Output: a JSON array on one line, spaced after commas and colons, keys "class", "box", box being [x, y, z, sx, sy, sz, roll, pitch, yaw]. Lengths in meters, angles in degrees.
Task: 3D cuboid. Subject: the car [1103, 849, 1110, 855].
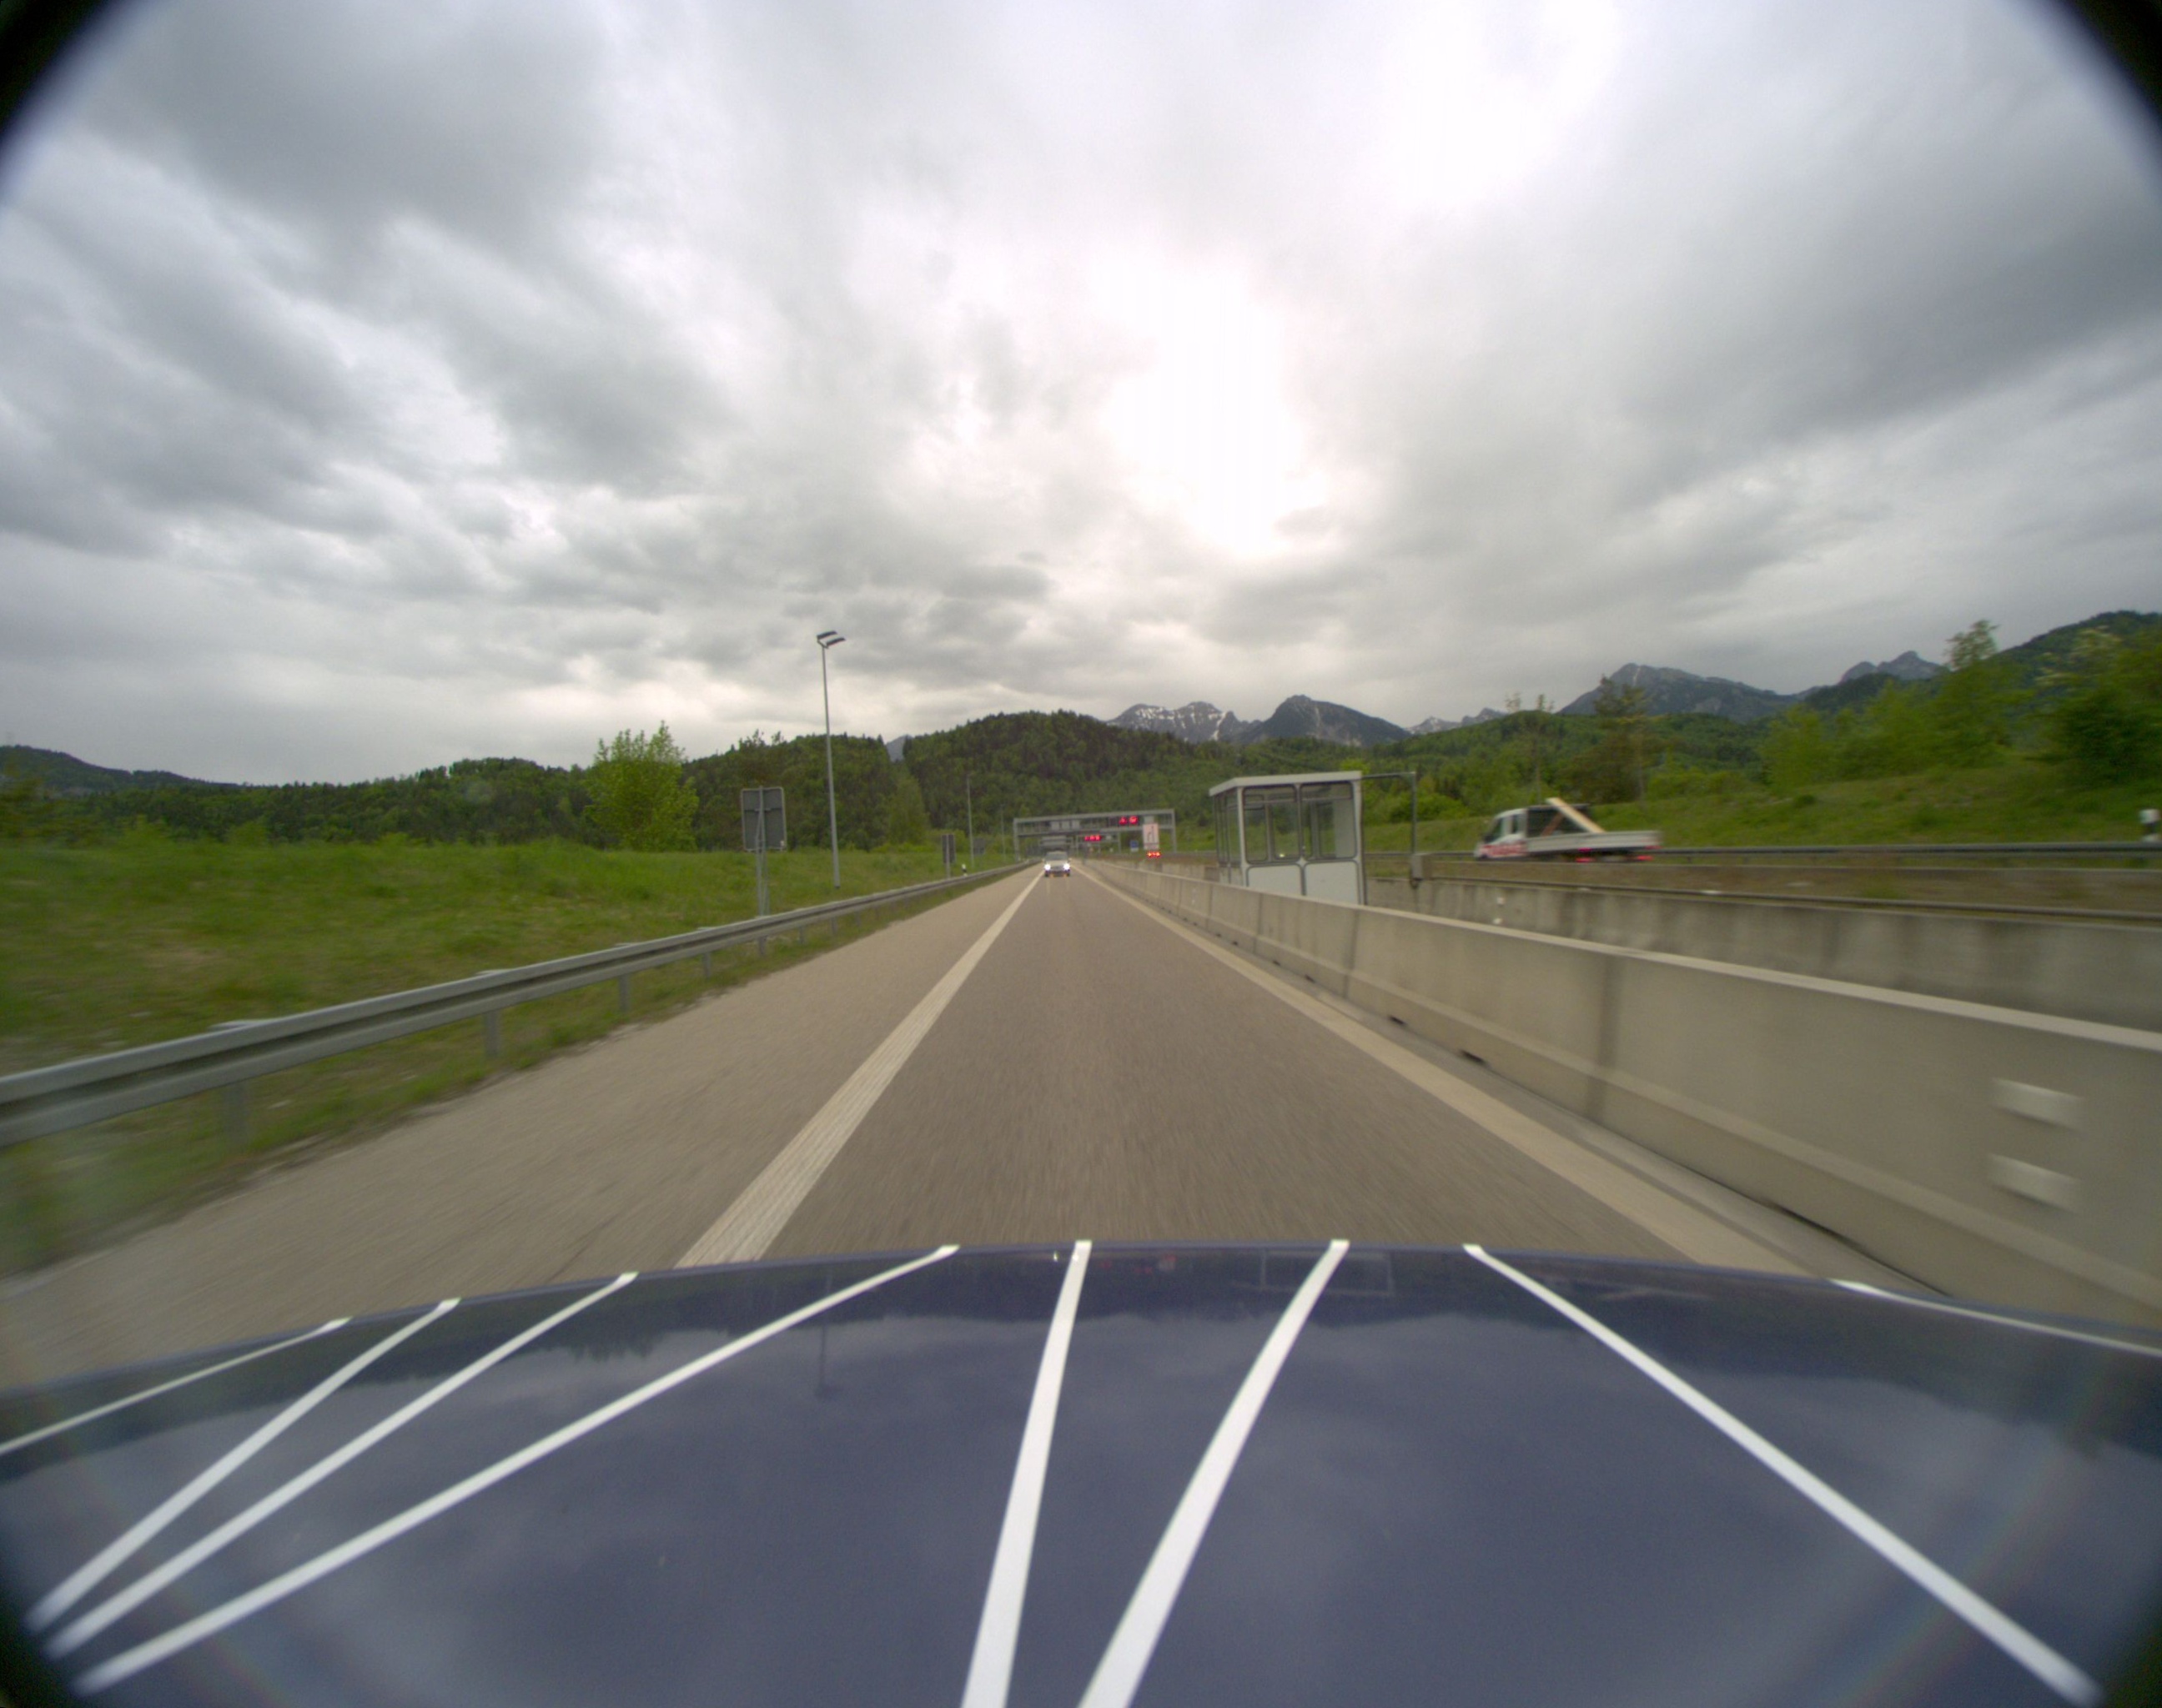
[{"class": "car", "box": [8.191, -0.725, 243.015, 1.883, 1.726, 5.750, -3, 0, -2]}]

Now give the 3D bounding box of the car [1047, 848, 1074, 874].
[{"class": "car", "box": [-1.529, 0.508, 58.953, 1.923, 1.871, 5.137, -1, 1, 0]}]

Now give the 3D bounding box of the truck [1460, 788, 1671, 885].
[{"class": "truck", "box": [14.337, -0.470, 23.136, 2.363, 2.465, 5.986, -3, 0, -2]}]

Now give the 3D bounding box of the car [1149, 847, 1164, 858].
[{"class": "car", "box": [11.863, -0.228, 119.619, 1.707, 1.566, 4.176, -3, 0, -1]}]
